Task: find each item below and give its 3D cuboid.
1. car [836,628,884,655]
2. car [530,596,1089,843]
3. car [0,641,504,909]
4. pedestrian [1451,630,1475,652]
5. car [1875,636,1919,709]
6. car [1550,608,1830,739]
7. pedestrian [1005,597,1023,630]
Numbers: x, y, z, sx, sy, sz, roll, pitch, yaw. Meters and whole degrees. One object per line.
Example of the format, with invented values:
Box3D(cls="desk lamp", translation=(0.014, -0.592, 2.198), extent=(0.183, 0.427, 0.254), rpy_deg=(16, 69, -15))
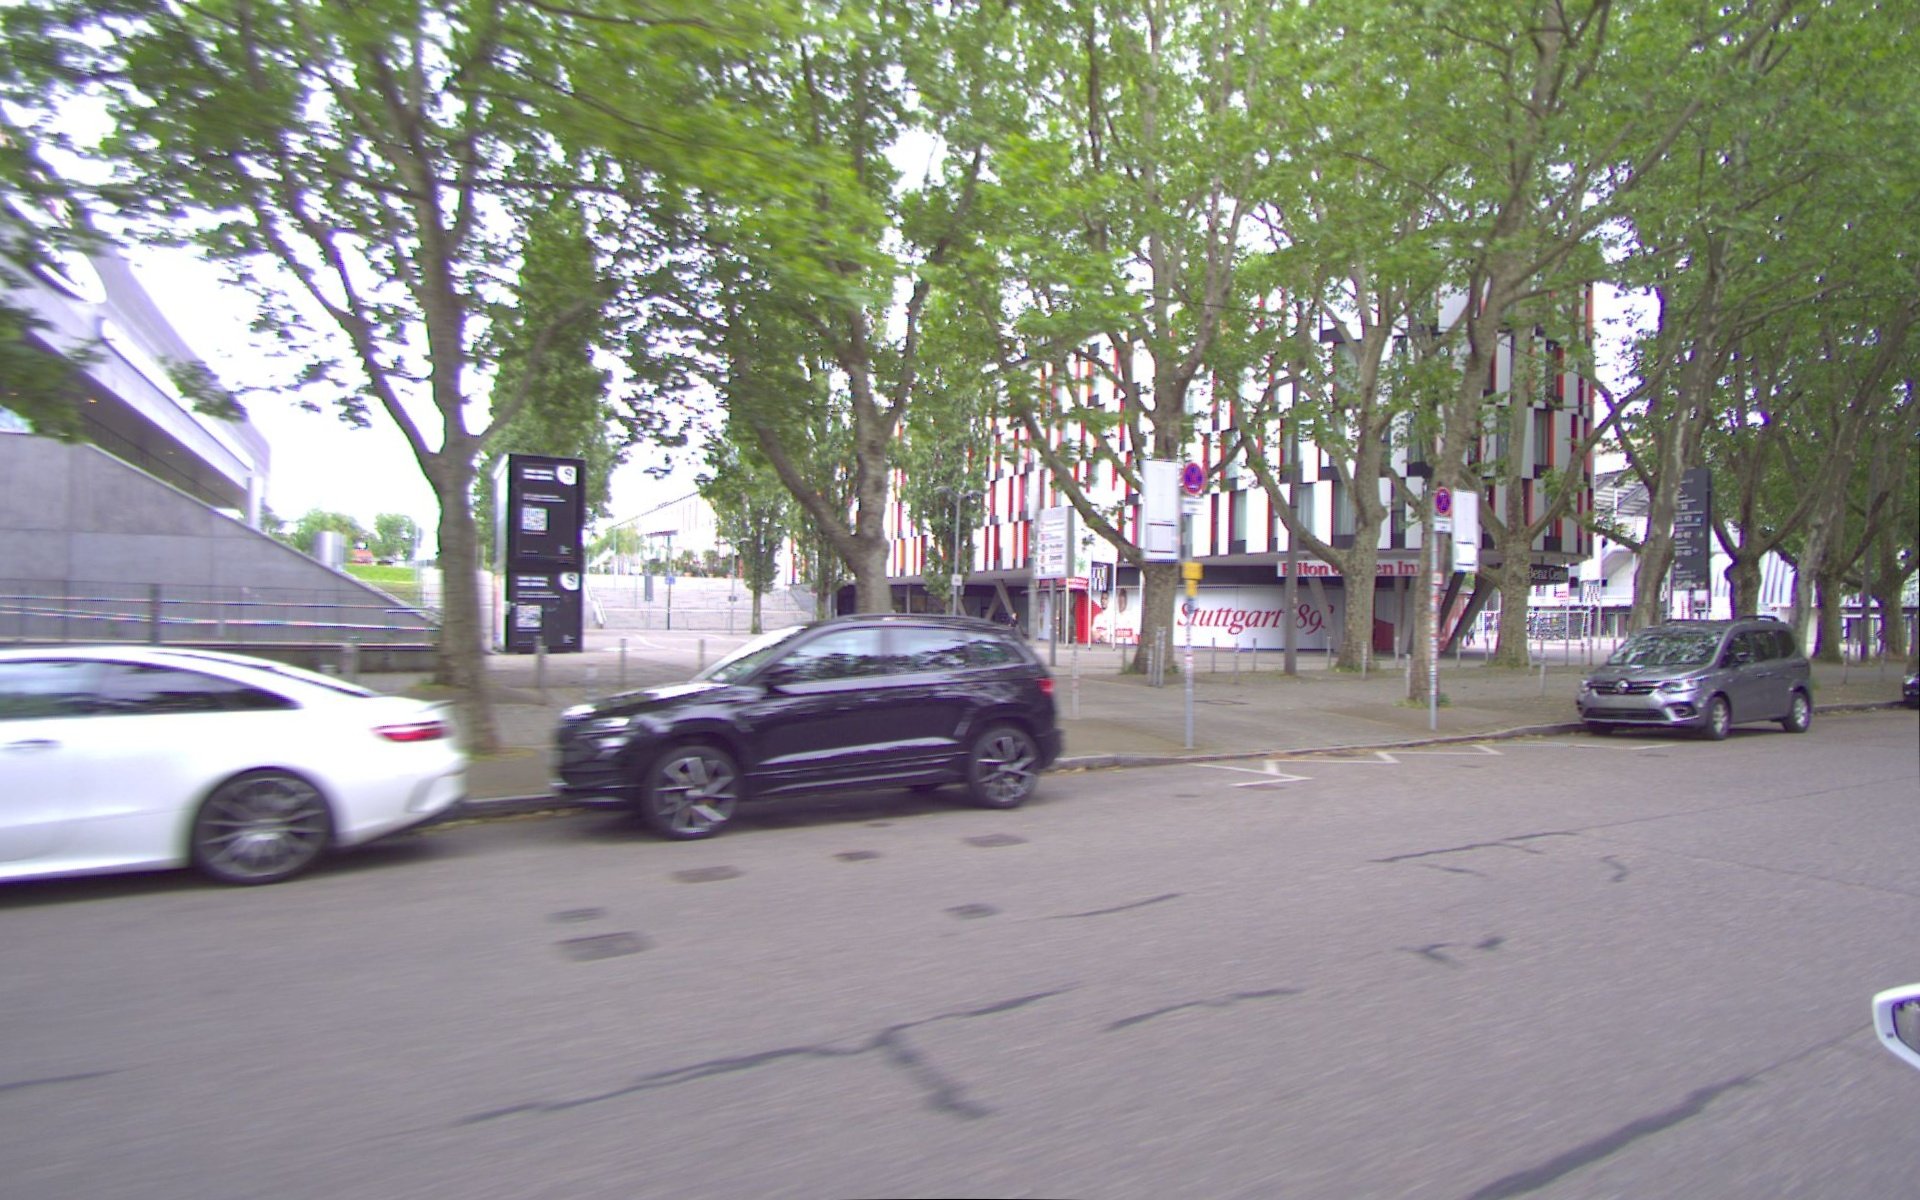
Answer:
Box3D(cls="car", translation=(-8.912, 3.642, 89.290), extent=(2.284, 2.041, 5.143), rpy_deg=(-4, 2, -29))
Box3D(cls="car", translation=(-1.209, 0.889, 8.426), extent=(4.289, 1.614, 1.811), rpy_deg=(2, -4, -28))
Box3D(cls="car", translation=(-5.498, 0.944, 5.947), extent=(4.947, 1.380, 1.807), rpy_deg=(1, -3, -31))
Box3D(cls="pedestrian", translation=(34.812, 2.825, 69.551), extent=(1.098, 1.481, 1.039), rpy_deg=(2, -1, -32))
Box3D(cls="car", translation=(22.872, 1.584, 22.394), extent=(5.081, 1.550, 2.076), rpy_deg=(1, -2, -28))
Box3D(cls="car", translation=(11.642, 1.144, 15.972), extent=(4.558, 1.818, 1.887), rpy_deg=(2, -4, -30))
Box3D(cls="pedestrian", translation=(2.818, 0.696, 52.436), extent=(0.684, 1.712, 0.640), rpy_deg=(1, -1, -27))
